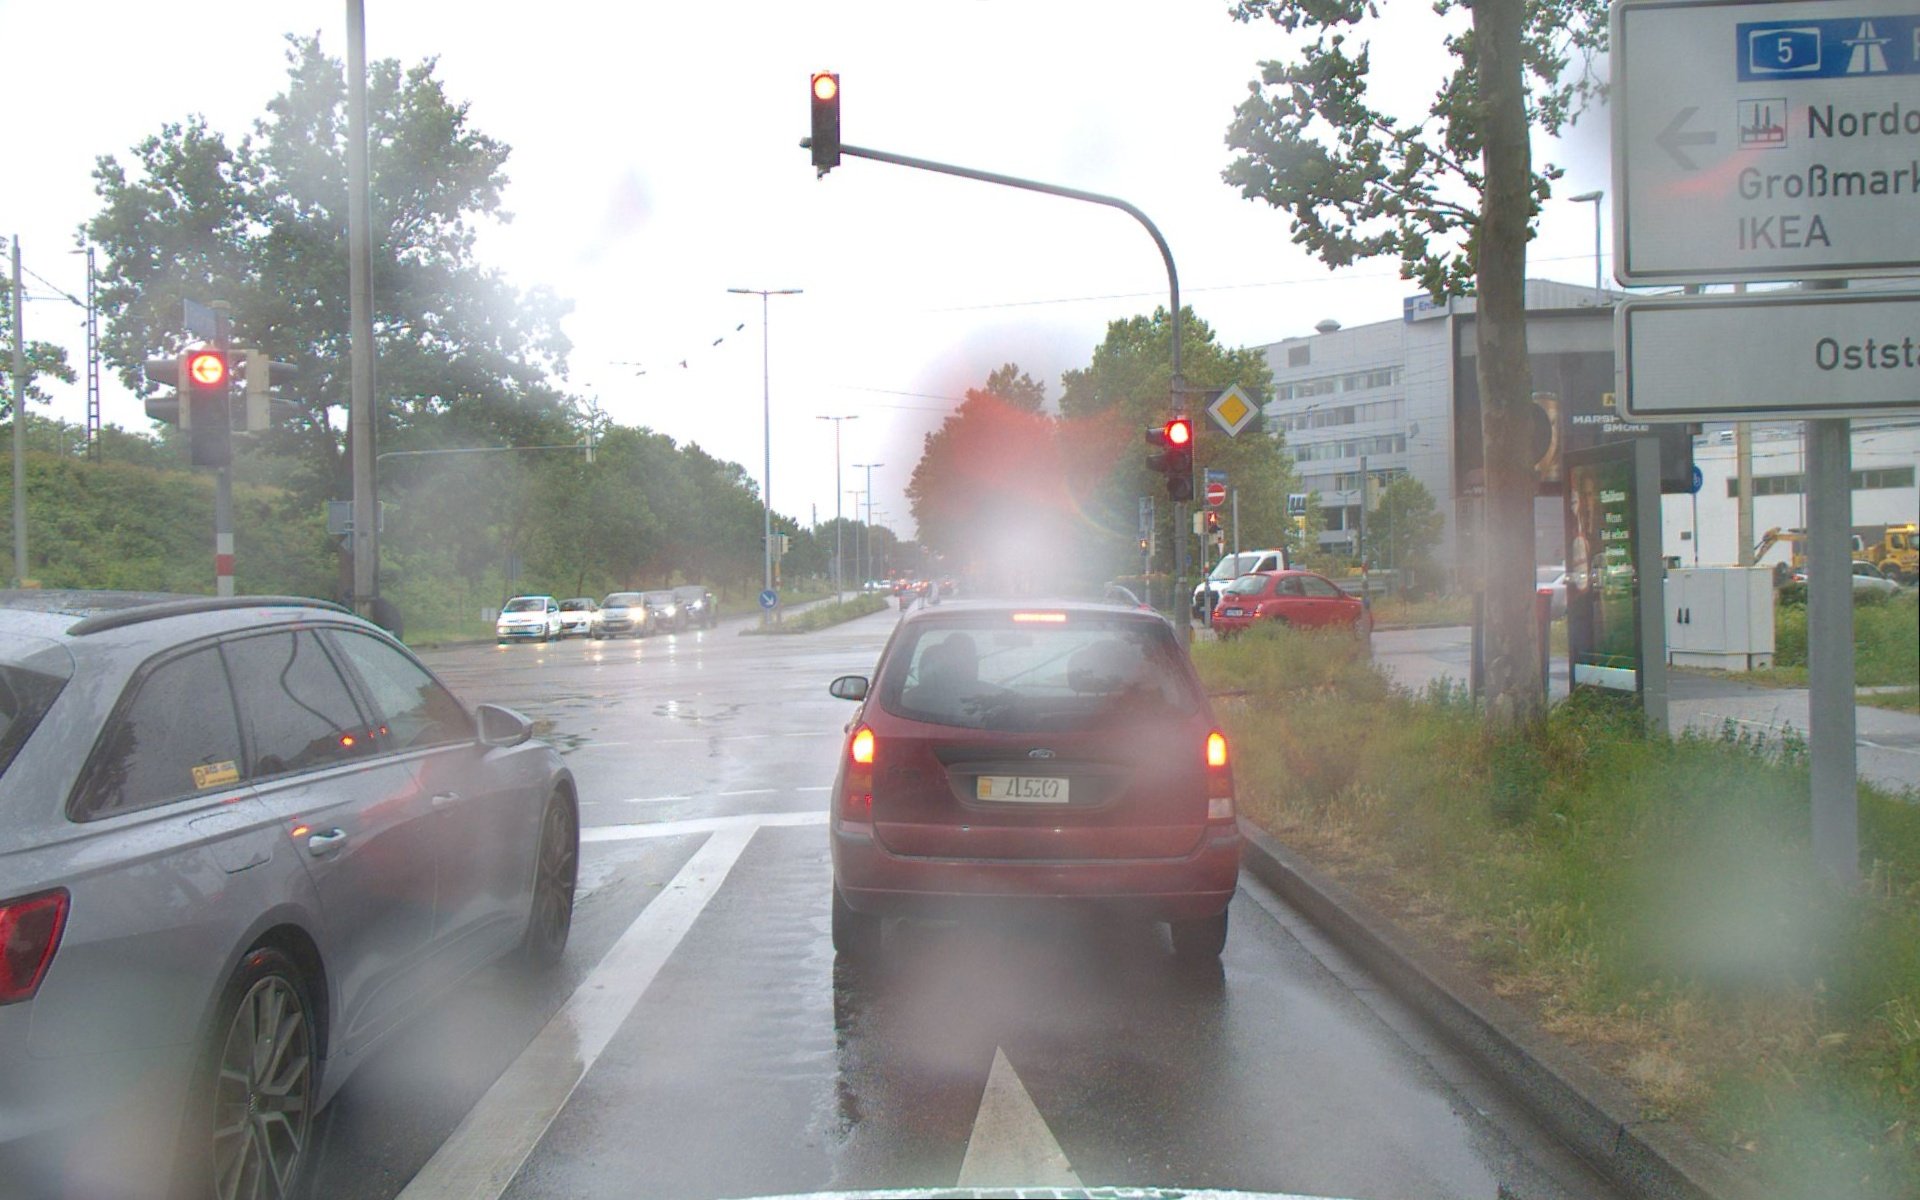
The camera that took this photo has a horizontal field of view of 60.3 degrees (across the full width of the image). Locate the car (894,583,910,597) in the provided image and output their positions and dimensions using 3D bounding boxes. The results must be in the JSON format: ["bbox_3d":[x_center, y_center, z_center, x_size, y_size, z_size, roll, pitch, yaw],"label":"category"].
[{"bbox_3d":[-7.098,-1.232,202.517,1.663,1.554,3.846,-1,0,1],"label":"car"}]

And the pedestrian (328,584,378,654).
[{"bbox_3d":[-16.661,0.516,45.428,1.083,1.879,1.127,-1,0,-13],"label":"pedestrian"}]

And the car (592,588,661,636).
[{"bbox_3d":[-11.238,0.377,55.968,1.605,1.499,3.964,-2,1,-1],"label":"car"}]

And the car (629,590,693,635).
[{"bbox_3d":[-11.362,0.470,63.099,1.727,1.614,4.811,-2,0,-2],"label":"car"}]

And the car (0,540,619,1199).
[{"bbox_3d":[-2.305,0.674,4.831,1.733,1.601,4.819,1,0,-2],"label":"car"}]

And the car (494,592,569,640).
[{"bbox_3d":[-14.173,0.501,54.878,1.605,1.478,3.785,-2,1,-3],"label":"car"}]

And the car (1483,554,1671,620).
[{"bbox_3d":[15.165,-0.335,40.545,4.771,1.517,1.905,-1,0,-34],"label":"car"}]

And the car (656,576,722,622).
[{"bbox_3d":[-11.628,-0.059,71.264,2.024,1.851,5.539,-2,1,-2],"label":"car"}]

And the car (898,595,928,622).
[{"bbox_3d":[-3.307,0.617,115.217,1.954,1.822,3.997,1,0,-4],"label":"car"}]

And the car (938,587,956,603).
[{"bbox_3d":[-1.278,-0.495,158.693,1.636,1.554,3.846,-1,0,1],"label":"car"}]

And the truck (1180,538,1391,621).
[{"bbox_3d":[10.093,-0.658,50.952,6.792,2.406,2.450,-1,0,-37],"label":"truck"}]

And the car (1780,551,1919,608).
[{"bbox_3d":[26.464,-0.620,49.165,4.575,1.614,1.902,-1,0,-37],"label":"car"}]

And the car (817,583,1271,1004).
[{"bbox_3d":[0.249,0.679,7.795,1.609,1.490,3.731,1,0,-2],"label":"car"}]

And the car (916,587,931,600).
[{"bbox_3d":[-4.248,-0.773,193.964,1.663,1.554,3.846,-1,0,0],"label":"car"}]

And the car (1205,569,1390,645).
[{"bbox_3d":[7.119,0.119,34.776,3.769,1.517,1.659,0,0,-33],"label":"car"}]

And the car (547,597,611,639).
[{"bbox_3d":[-14.074,0.643,61.206,1.558,1.428,3.822,-2,1,-2],"label":"car"}]

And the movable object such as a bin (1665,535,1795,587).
[{"bbox_3d":[48.337,-2.420,103.969,3.292,3.048,6.634,-2,0,-36],"label":"movable object such as a bin"}]

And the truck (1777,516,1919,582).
[{"bbox_3d":[52.791,-2.948,97.357,3.292,3.568,7.789,-2,0,-36],"label":"truck"}]

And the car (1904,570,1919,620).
[{"bbox_3d":[33.246,-0.205,54.734,4.578,1.614,1.901,-1,0,-38],"label":"car"}]
